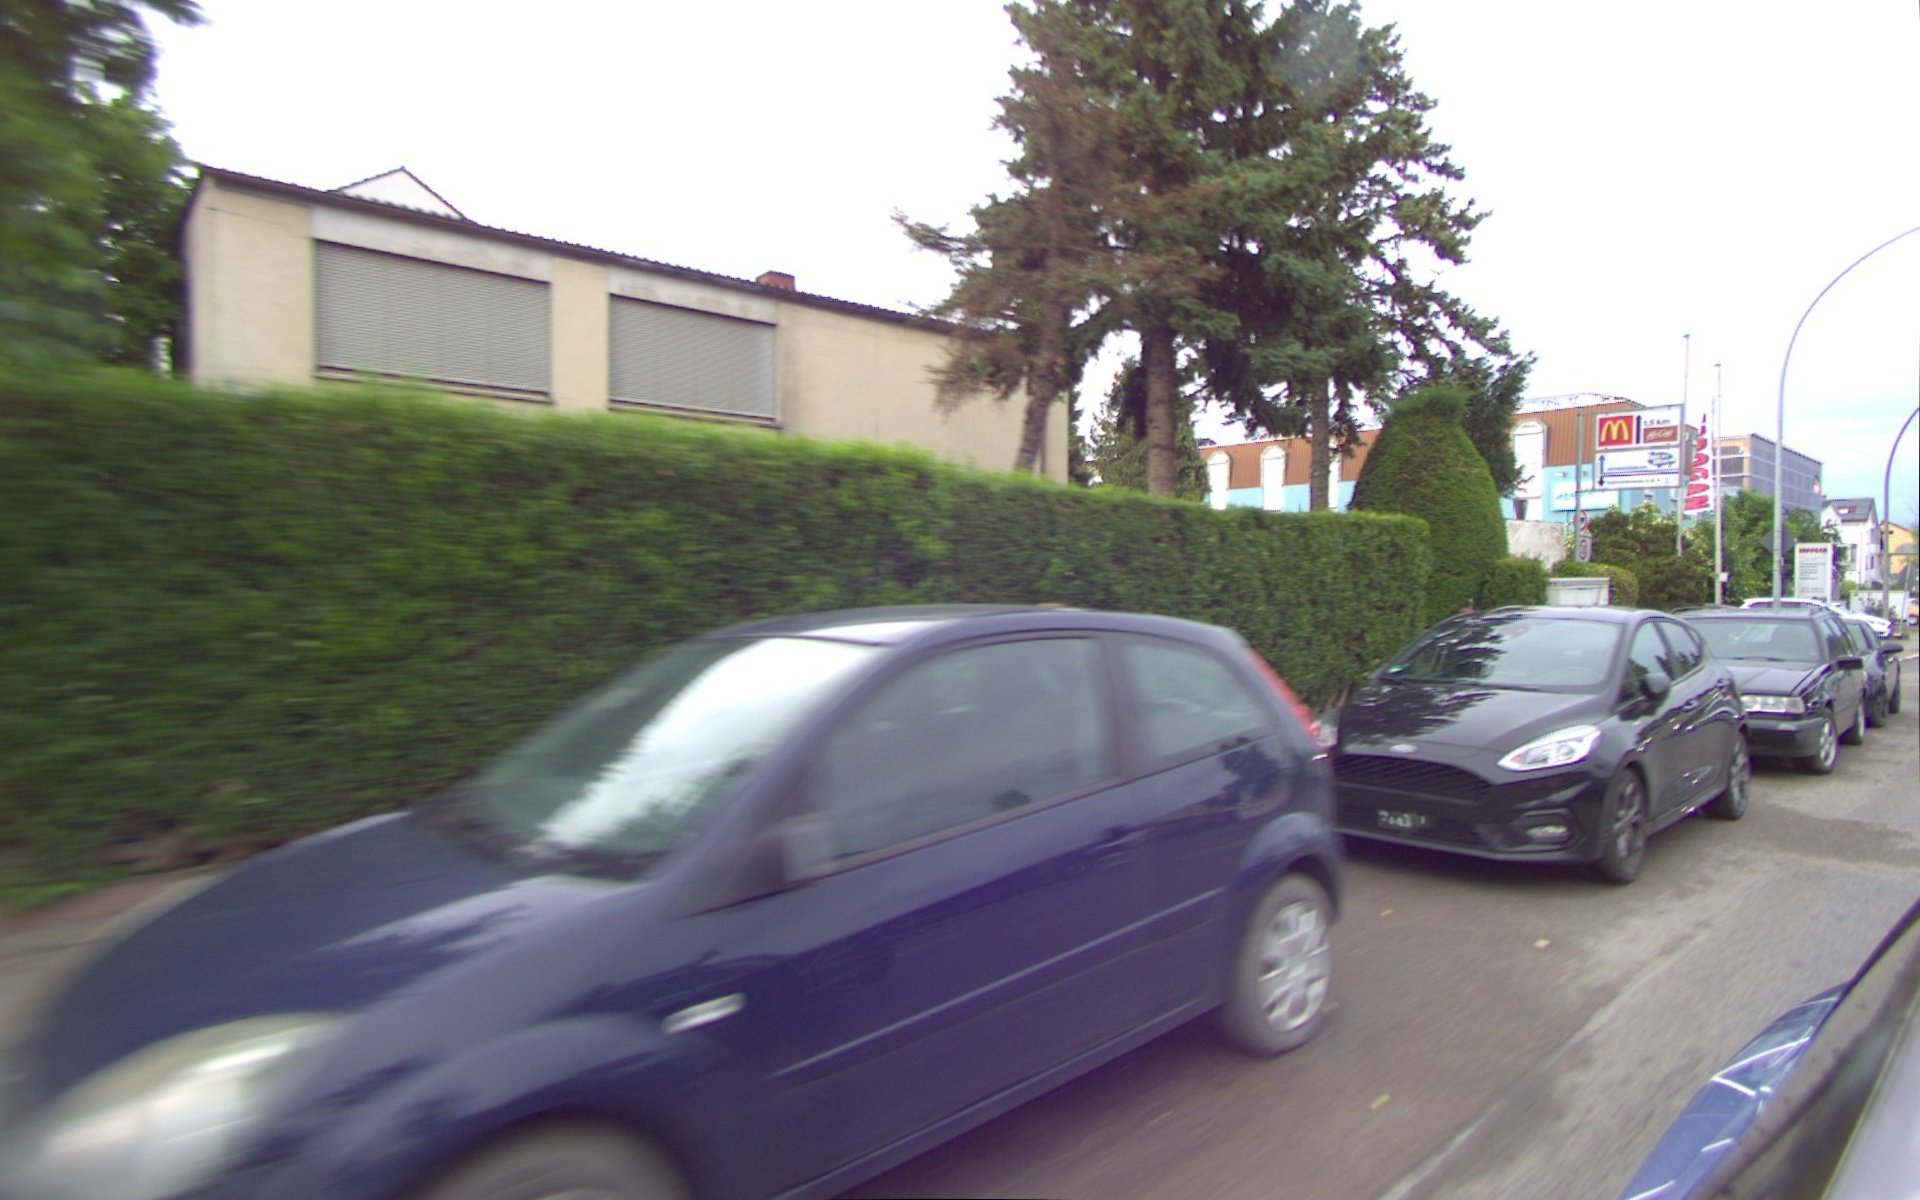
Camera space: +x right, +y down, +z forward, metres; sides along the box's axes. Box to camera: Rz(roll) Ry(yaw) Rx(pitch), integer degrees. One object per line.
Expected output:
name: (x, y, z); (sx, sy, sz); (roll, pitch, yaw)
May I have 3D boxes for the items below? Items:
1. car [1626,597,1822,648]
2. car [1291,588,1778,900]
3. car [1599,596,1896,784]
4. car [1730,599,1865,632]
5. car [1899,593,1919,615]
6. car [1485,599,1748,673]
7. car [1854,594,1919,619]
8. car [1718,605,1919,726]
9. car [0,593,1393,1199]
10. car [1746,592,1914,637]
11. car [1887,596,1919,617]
car: (21.092, 0.584, 28.070); (1.916, 1.282, 3.996); (-1, 0, -38)
car: (3.922, 0.687, 6.648); (3.763, 1.467, 1.659); (0, -1, -42)
car: (8.102, 0.713, 10.229); (4.697, 1.437, 1.658); (-1, 0, -43)
car: (37.423, 0.673, 45.295); (1.848, 1.410, 4.420); (0, -1, -42)
car: (74.693, 0.300, 77.273); (1.947, 1.696, 4.232); (-1, 0, -41)
car: (12.875, 0.664, 20.013); (1.917, 1.282, 3.992); (-1, 0, -42)
car: (56.775, 0.392, 61.133); (1.603, 1.448, 3.993); (0, 0, -41)
car: (11.625, 0.781, 13.567); (4.023, 1.358, 1.591); (0, -2, -43)
car: (-0.352, 0.724, 2.952); (3.741, 1.457, 1.489); (0, -1, -41)
car: (31.123, 0.484, 36.293); (1.870, 1.494, 4.345); (-1, 0, -41)
car: (72.716, 0.480, 76.290); (1.800, 1.509, 3.975); (0, 0, -39)
